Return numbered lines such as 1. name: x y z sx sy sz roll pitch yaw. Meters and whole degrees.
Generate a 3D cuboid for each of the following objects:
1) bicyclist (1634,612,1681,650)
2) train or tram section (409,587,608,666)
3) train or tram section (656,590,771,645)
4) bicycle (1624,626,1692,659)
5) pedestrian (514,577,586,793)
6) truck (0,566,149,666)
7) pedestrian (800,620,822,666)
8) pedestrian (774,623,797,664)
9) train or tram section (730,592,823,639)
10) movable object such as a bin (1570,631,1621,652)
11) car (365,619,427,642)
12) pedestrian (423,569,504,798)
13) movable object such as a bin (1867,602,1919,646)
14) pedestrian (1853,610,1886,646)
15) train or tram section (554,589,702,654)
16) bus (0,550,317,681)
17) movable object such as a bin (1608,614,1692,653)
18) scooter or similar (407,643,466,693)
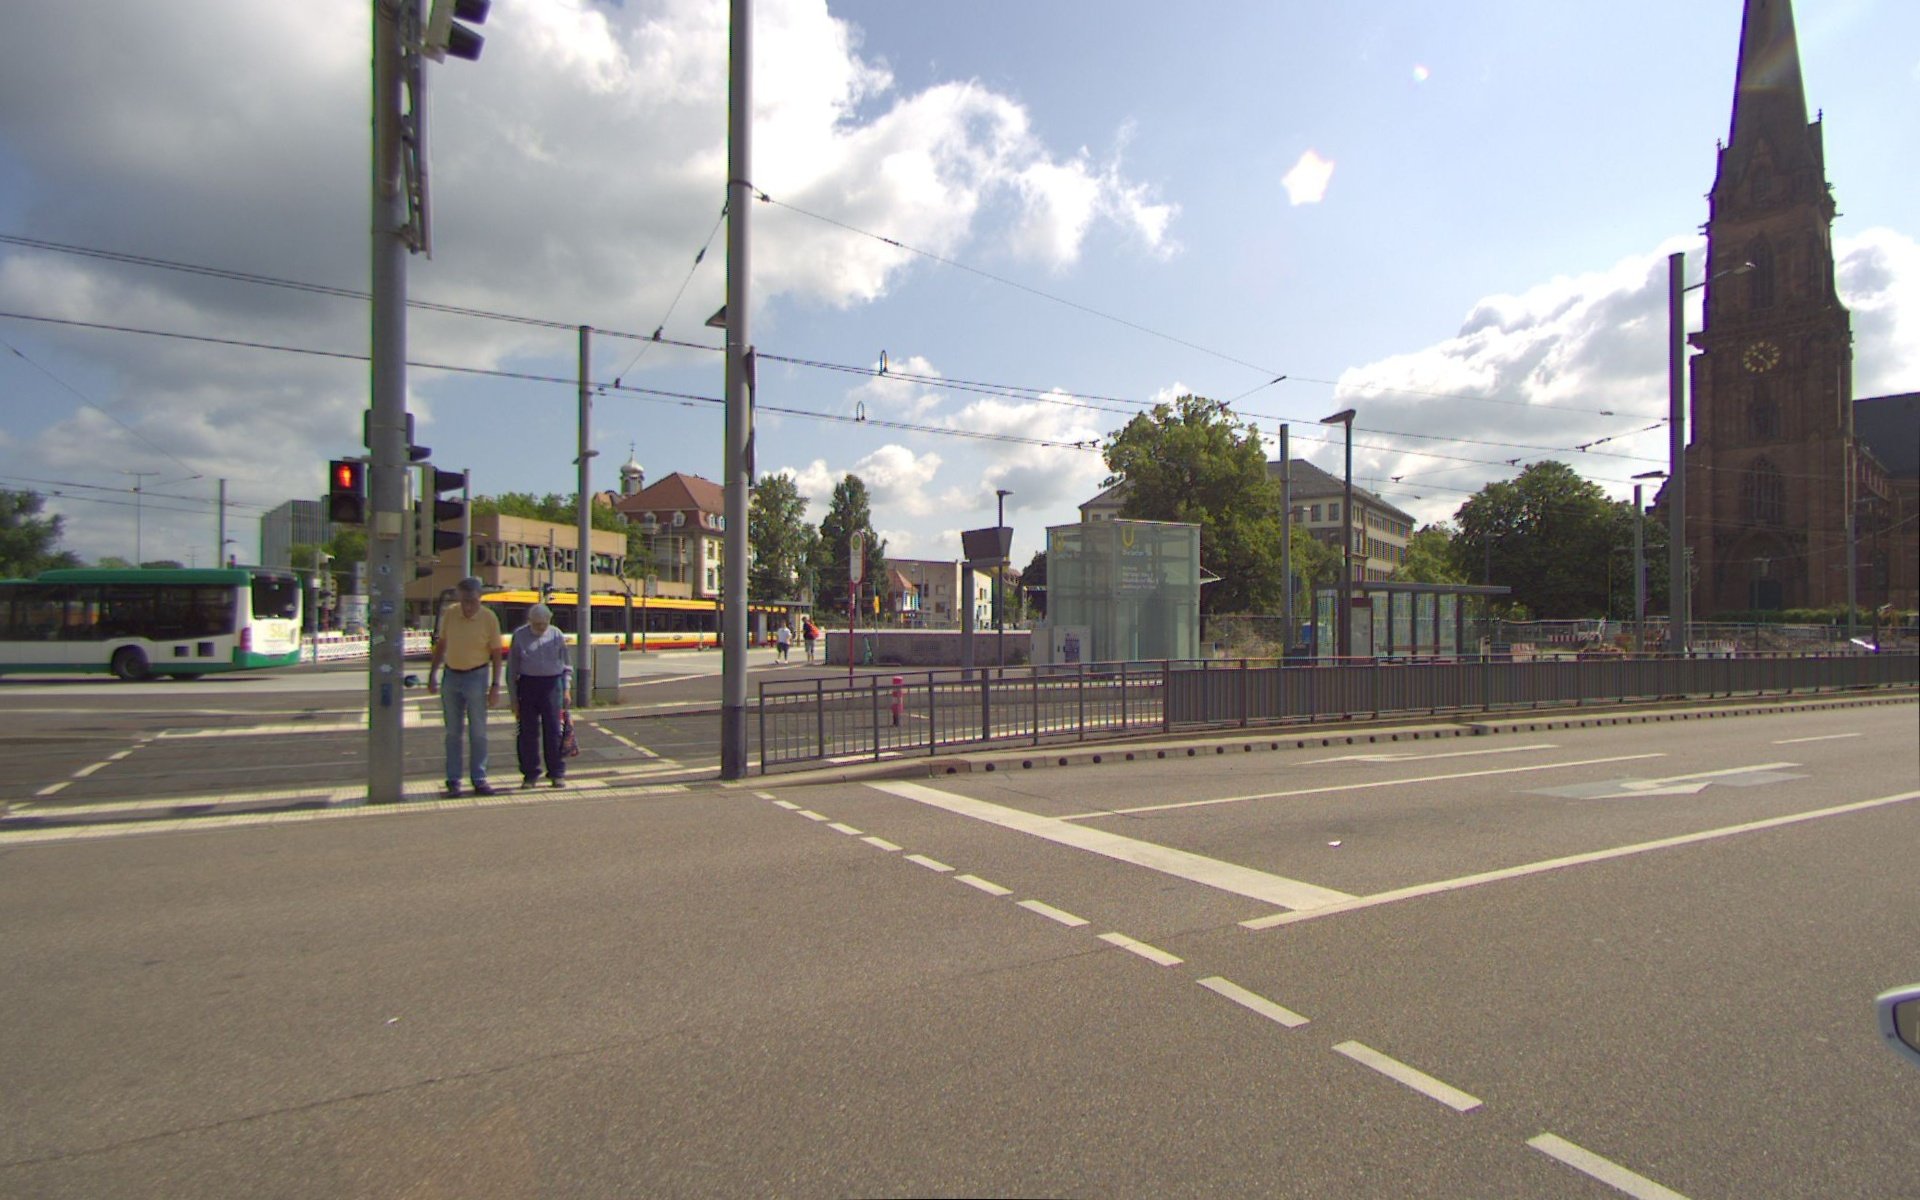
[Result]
1. bicyclist: 31.494 1.404 45.346 1.665 1.706 1.171 1 -2 -32
2. train or tram section: -22.428 1.209 50.964 3.257 3.527 10.613 -2 0 14
3. train or tram section: -17.278 1.157 71.494 3.257 3.527 10.613 -2 0 14
4. bicycle: 31.545 1.900 45.366 3.652 1.445 1.187 1 -2 -32
5. pedestrian: -4.032 0.811 9.875 0.512 2.040 0.497 1 -1 -41
6. truck: -39.795 0.757 45.066 2.794 4.061 8.035 0 -2 -20
7. pedestrian: -5.891 1.703 39.843 0.706 1.818 0.563 0 -1 13
8. pedestrian: -7.332 1.821 42.248 0.766 1.694 0.721 0 -1 9
9. train or tram section: -14.685 1.165 81.781 3.257 3.527 10.613 -2 0 14
10. movable object such as a bin: 47.426 3.061 74.951 5.117 1.522 1.975 2 -2 -43
11. car: -45.150 2.414 80.486 3.919 1.806 2.001 0 -1 6
12. pedestrian: -4.598 0.750 9.312 0.574 2.040 0.422 1 -1 -41
13. movable object such as a bin: 71.990 1.825 77.214 3.946 3.147 1.987 -2 0 -26
14. pedestrian: 52.400 1.638 57.862 1.037 2.040 1.062 1 -2 -26
15. train or tram section: -19.872 1.196 61.153 3.257 3.527 10.613 -2 0 14
16. bus: -26.115 0.473 29.626 12.137 3.668 2.915 0 -1 -2
17. movable object such as a bin: 54.278 2.617 79.103 1.981 2.950 5.102 1 -2 -36
18. scooter or similar: -12.911 1.663 24.765 1.158 1.182 0.804 1 -2 -39
